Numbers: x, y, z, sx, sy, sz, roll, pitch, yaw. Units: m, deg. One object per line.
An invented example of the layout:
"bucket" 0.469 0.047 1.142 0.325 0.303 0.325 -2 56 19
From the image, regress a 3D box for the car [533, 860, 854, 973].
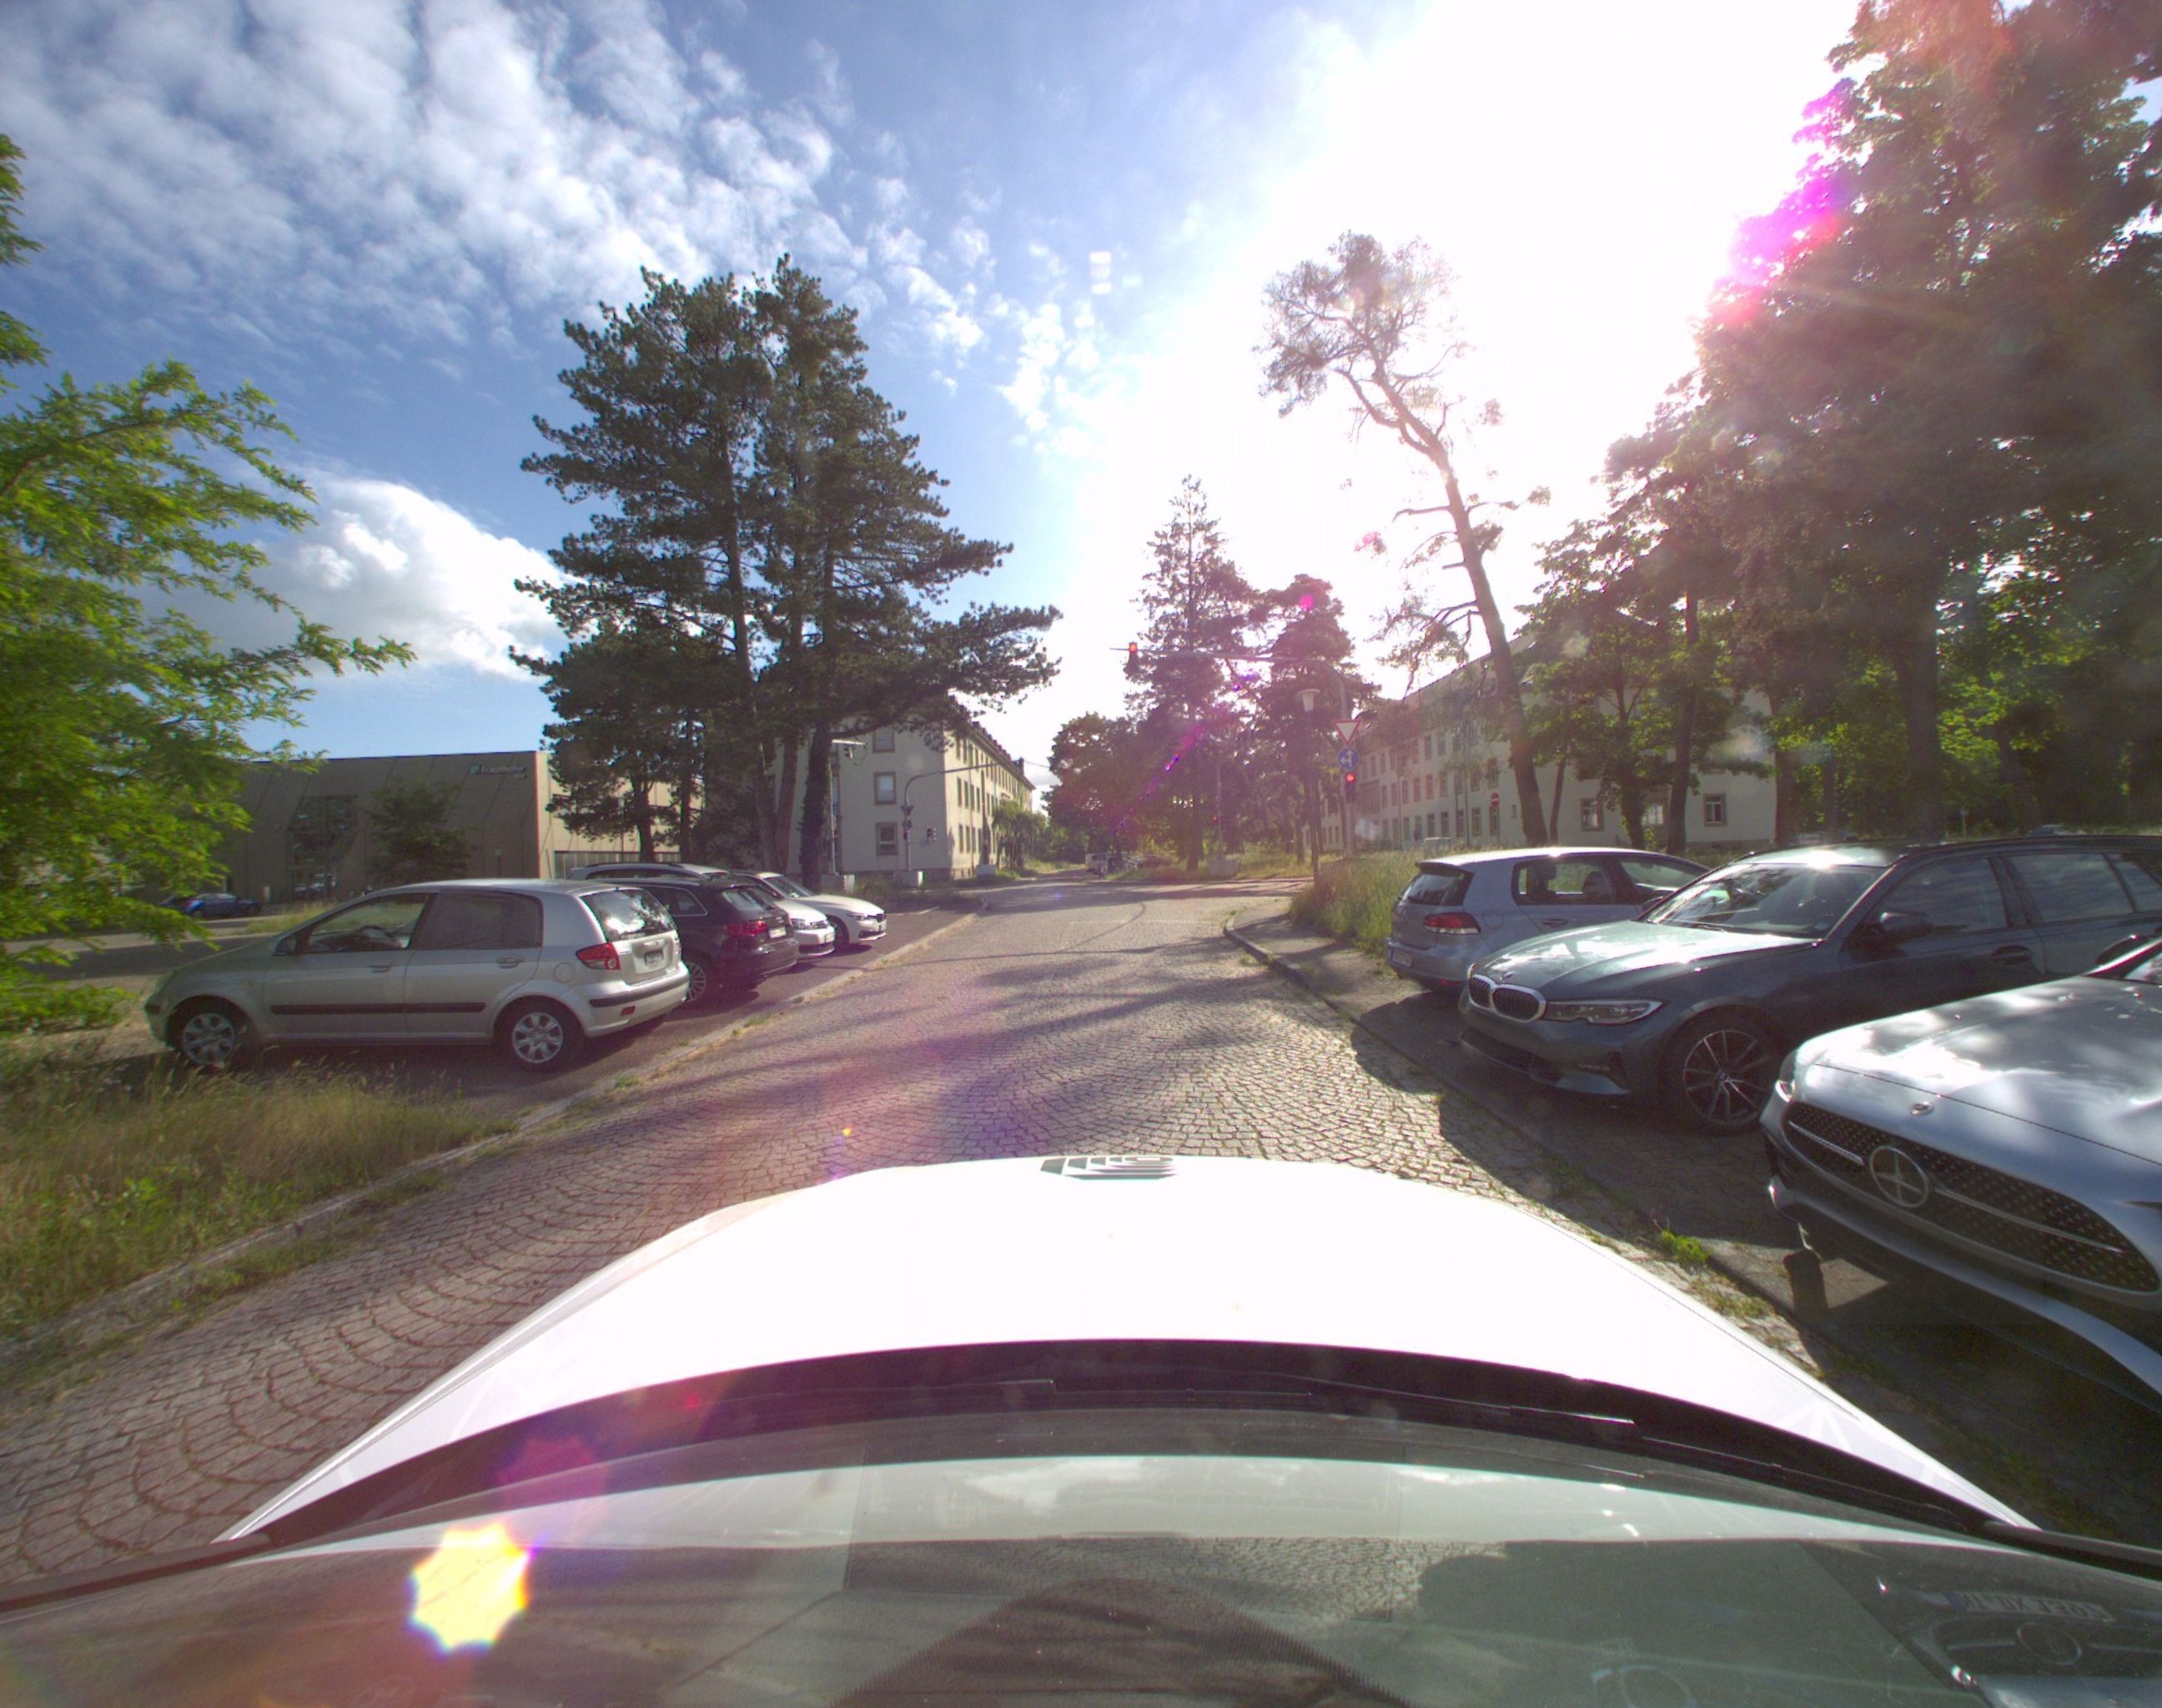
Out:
"car" -5.845 0.911 12.701 4.069 1.593 1.884 0 0 -2

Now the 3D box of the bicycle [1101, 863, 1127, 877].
"bicycle" 2.451 1.179 60.221 1.835 1.010 0.634 0 -1 -6

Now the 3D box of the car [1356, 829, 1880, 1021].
"car" 4.866 0.612 7.806 3.867 1.415 1.637 -4 0 2

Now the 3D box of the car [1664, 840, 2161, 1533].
"car" 4.549 0.639 2.321 4.415 1.415 1.781 -4 0 2

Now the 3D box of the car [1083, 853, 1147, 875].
"car" 3.142 0.943 74.799 5.534 2.014 1.989 0 -1 -17

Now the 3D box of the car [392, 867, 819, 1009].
"car" -5.400 0.920 9.694 3.976 1.480 1.802 0 0 -2

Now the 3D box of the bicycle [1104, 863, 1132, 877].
"bicycle" 2.651 1.155 58.461 2.002 1.010 0.630 0 -1 -6

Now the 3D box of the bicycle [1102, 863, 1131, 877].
"bicycle" 2.602 1.167 59.344 2.025 1.010 0.626 0 -1 -6

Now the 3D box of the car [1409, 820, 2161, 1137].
"car" 4.654 0.635 5.036 4.542 1.415 1.637 -4 0 2

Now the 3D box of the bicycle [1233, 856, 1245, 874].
"bicycle" 8.643 0.604 44.534 0.300 0.961 1.585 0 -1 -2

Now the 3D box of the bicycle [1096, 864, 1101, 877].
"bicycle" 1.428 1.328 66.427 0.415 1.010 1.484 0 -1 2

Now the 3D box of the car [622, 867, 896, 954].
"car" -5.785 0.999 15.061 4.321 1.468 1.829 0 0 -2

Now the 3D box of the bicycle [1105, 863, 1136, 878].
"bicycle" 2.767 1.131 56.745 2.106 1.010 0.619 0 -1 -6

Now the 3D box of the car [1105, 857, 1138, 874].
"car" 3.511 0.985 71.215 2.775 1.467 1.669 0 -1 -3

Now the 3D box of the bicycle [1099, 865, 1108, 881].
"bicycle" 1.443 1.231 53.024 0.466 1.010 1.585 0 -1 -2

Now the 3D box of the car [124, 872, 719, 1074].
"car" -5.384 0.924 7.050 3.736 1.487 1.645 0 0 -2
